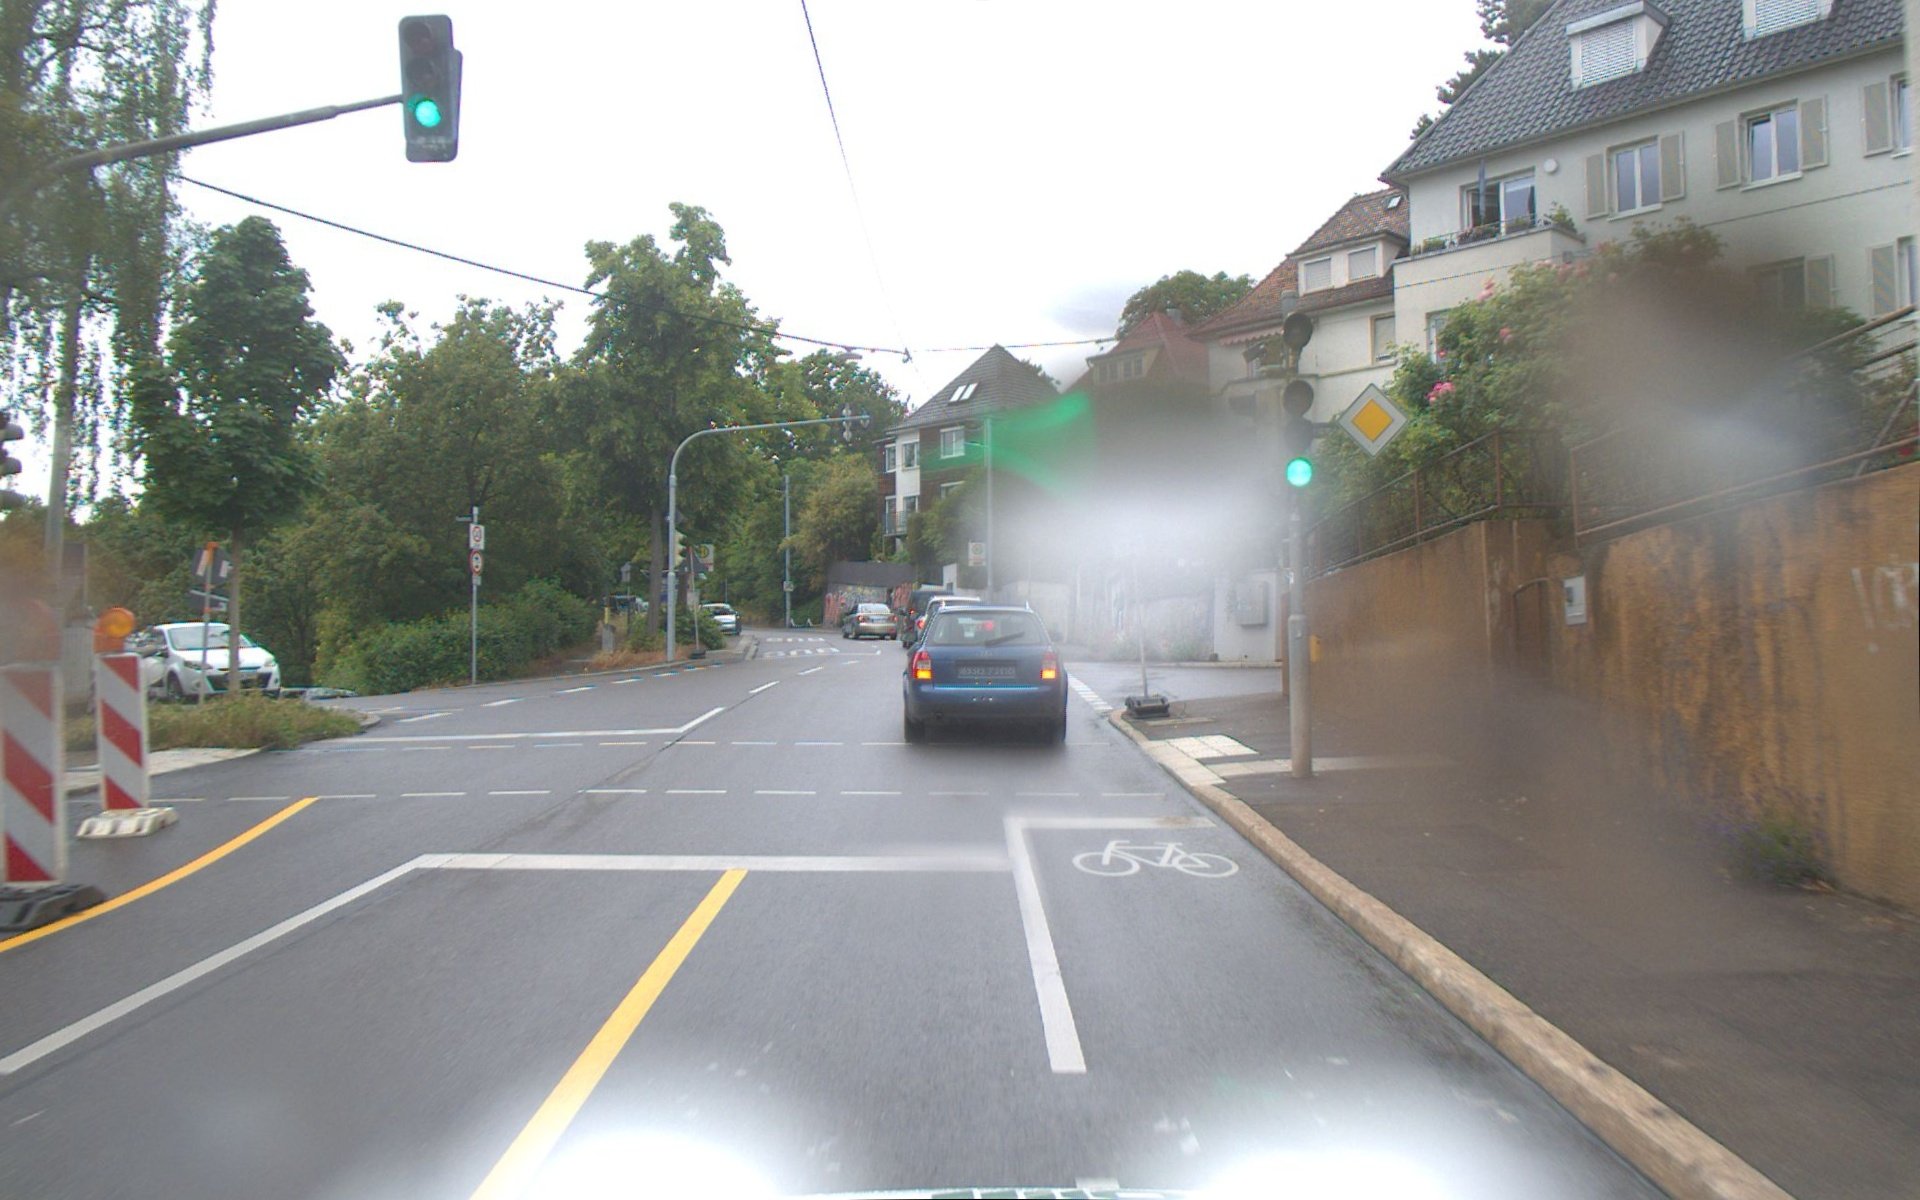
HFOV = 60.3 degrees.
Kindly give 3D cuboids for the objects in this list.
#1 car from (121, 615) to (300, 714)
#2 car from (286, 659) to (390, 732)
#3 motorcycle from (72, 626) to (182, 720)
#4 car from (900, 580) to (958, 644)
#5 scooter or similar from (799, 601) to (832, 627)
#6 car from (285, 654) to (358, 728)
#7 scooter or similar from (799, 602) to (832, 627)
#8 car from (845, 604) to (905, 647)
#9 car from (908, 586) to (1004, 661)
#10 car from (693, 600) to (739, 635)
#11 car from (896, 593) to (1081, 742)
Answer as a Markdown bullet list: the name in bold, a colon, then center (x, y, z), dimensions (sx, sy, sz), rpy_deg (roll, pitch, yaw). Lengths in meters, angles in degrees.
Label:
- **car**: center (-13.192, 1.157, 29.014), dimensions (1.676, 1.535, 3.948), rpy_deg (-3, -1, -43)
- **car**: center (-16.923, 2.574, 44.907), dimensions (1.824, 1.780, 3.955), rpy_deg (3, -2, -32)
- **motorcycle**: center (-11.043, 0.950, 21.993), dimensions (0.579, 1.150, 1.842), rpy_deg (-2, 0, -3)
- **car**: center (-0.993, 0.359, 52.494), dimensions (1.695, 1.927, 4.054), rpy_deg (-2, 0, -1)
- **scooter or similar**: center (-8.521, 0.836, 97.658), dimensions (1.802, 1.338, 0.598), rpy_deg (4, -4, -13)
- **car**: center (-19.203, 2.680, 49.645), dimensions (1.726, 2.049, 3.967), rpy_deg (1, -1, -26)
- **scooter or similar**: center (-8.614, 0.889, 98.488), dimensions (1.802, 1.338, 0.598), rpy_deg (4, -4, -13)
- **car**: center (-3.439, 1.000, 66.281), dimensions (1.735, 1.597, 4.018), rpy_deg (-2, 0, -12)
- **car**: center (-0.120, 0.515, 35.033), dimensions (1.870, 1.413, 4.349), rpy_deg (2, -1, -1)
- **car**: center (-10.654, 0.743, 72.049), dimensions (1.645, 1.451, 3.987), rpy_deg (-2, 0, -13)
- **car**: center (0.423, 0.661, 18.288), dimensions (1.739, 1.464, 4.003), rpy_deg (0, 0, 5)
